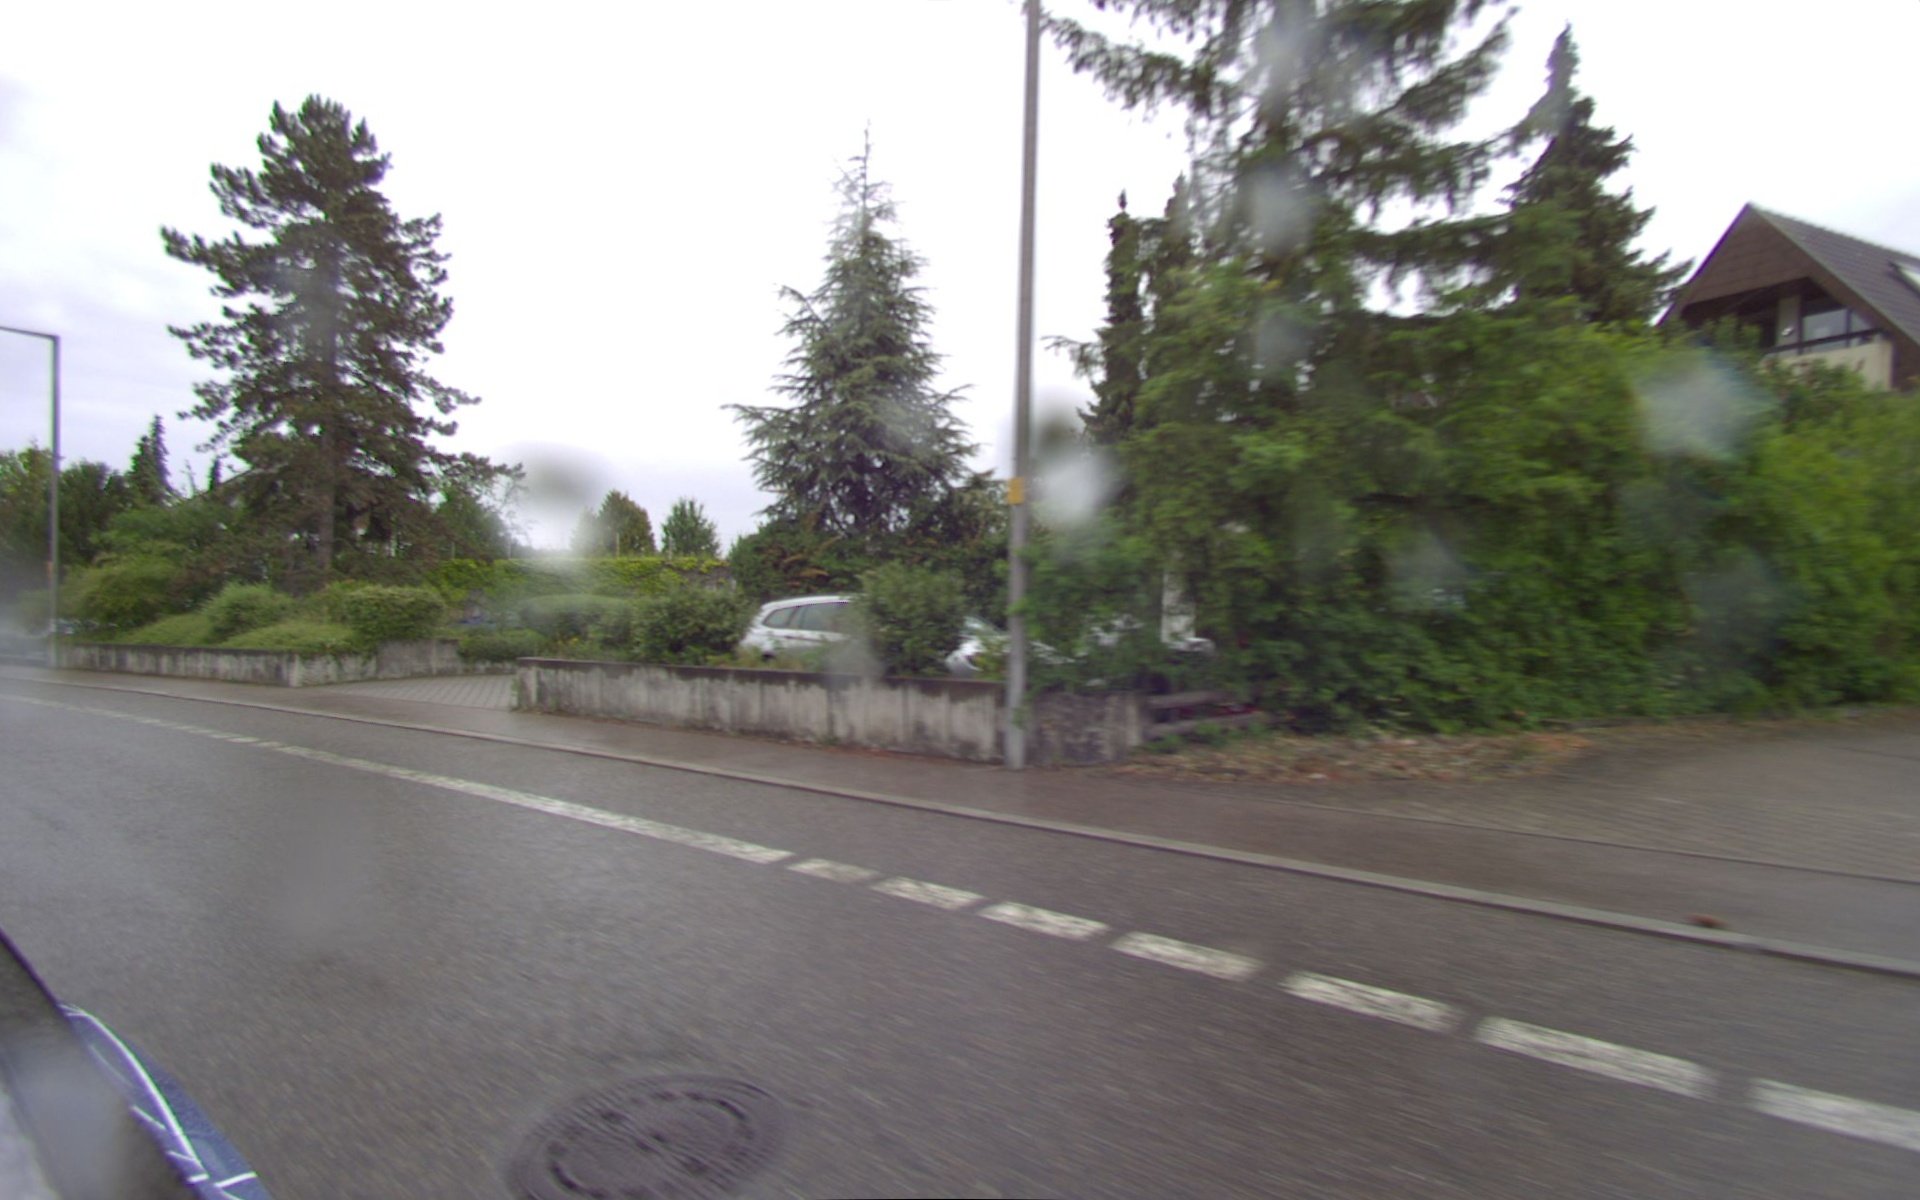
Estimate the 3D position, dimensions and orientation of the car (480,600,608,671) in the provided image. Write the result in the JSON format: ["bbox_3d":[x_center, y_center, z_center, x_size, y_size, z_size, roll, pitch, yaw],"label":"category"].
[{"bbox_3d":[-10.281,0.832,24.850,1.967,1.586,4.009,0,-1,-37],"label":"car"}]

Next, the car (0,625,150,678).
[{"bbox_3d":[-24.651,1.378,28.071,4.416,1.317,1.979,-1,-1,30],"label":"car"}]

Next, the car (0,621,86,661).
[{"bbox_3d":[-32.264,1.373,34.091,1.869,1.281,3.953,-1,0,35],"label":"car"}]

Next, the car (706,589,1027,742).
[{"bbox_3d":[-1.264,0.703,12.382,4.001,1.563,1.715,-1,-1,44],"label":"car"}]
